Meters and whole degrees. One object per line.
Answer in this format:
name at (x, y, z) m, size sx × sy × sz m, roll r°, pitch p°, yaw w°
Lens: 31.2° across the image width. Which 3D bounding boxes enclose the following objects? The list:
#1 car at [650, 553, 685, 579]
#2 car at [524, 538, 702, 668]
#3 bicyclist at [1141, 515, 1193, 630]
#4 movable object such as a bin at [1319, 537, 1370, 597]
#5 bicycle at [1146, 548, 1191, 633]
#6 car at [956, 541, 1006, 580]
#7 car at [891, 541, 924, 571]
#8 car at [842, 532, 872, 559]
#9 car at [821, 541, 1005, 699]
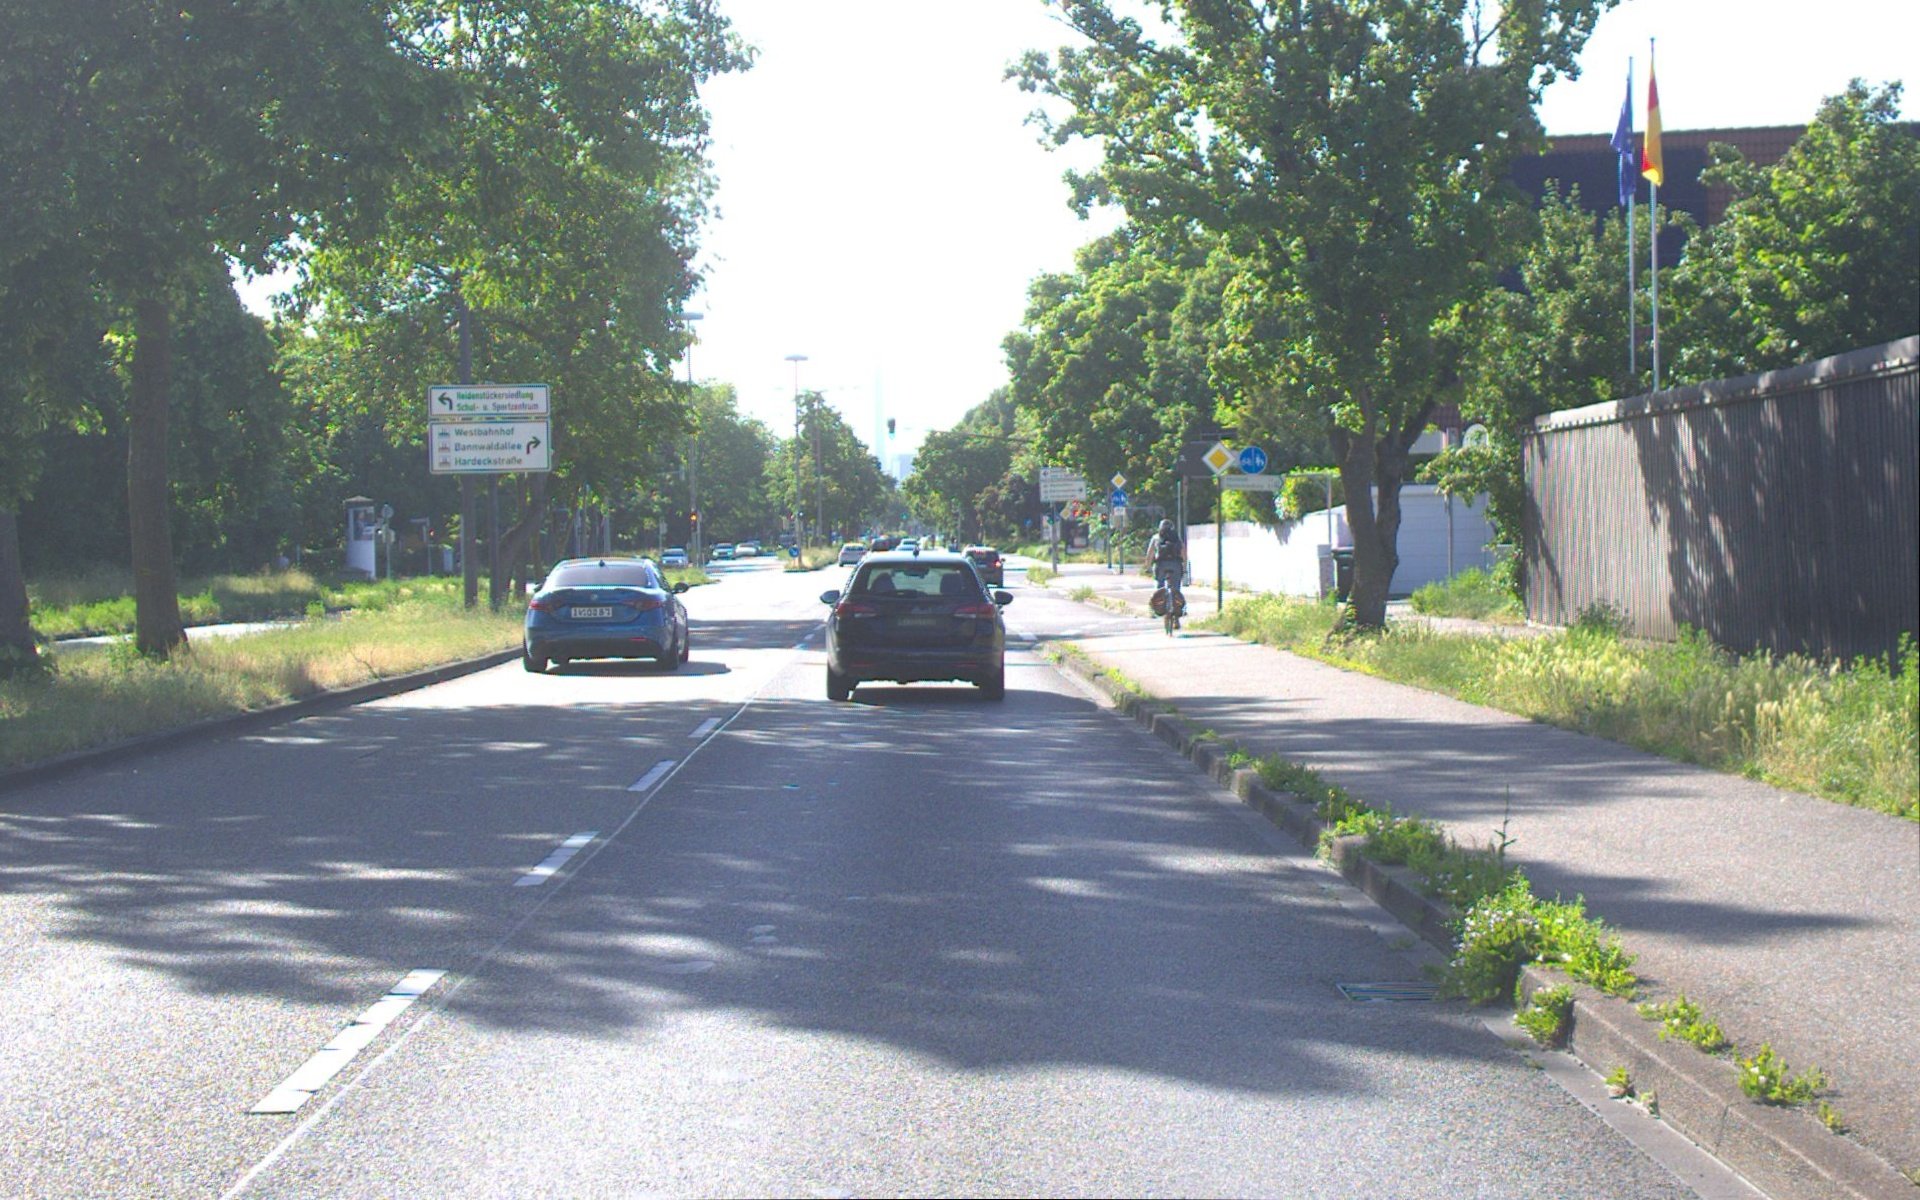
car at (-19.355, -2.248, 227.847) m, size 1.912 × 1.697 × 4.408 m, roll 1°, pitch 0°, yaw 0°
car at (-4.359, 0.017, 43.723) m, size 1.888 × 1.547 × 4.000 m, roll -1°, pitch 1°, yaw -1°
bicyclist at (3.029, -0.407, 50.332) m, size 0.630 × 1.627 × 0.982 m, roll -4°, pitch 1°, yaw 3°
movable object such as a bin at (8.067, -0.684, 72.059) m, size 1.002 × 1.201 × 1.062 m, roll -3°, pitch 0°, yaw 7°
bicycle at (3.050, -0.147, 50.359) m, size 0.574 × 1.151 × 2.140 m, roll -4°, pitch 1°, yaw 3°
car at (0.807, -1.526, 131.141) m, size 1.732 × 1.454 × 3.840 m, roll 0°, pitch 1°, yaw 3°
car at (-2.888, -2.386, 187.618) m, size 1.732 × 1.579 × 3.840 m, roll 1°, pitch 0°, yaw -1°
car at (-6.454, -3.433, 215.390) m, size 1.824 × 1.609 × 3.841 m, roll 0°, pitch 2°, yaw -1°
car at (-0.479, 0.177, 34.814) m, size 1.755 × 1.504 × 3.809 m, roll 0°, pitch 0°, yaw -1°
